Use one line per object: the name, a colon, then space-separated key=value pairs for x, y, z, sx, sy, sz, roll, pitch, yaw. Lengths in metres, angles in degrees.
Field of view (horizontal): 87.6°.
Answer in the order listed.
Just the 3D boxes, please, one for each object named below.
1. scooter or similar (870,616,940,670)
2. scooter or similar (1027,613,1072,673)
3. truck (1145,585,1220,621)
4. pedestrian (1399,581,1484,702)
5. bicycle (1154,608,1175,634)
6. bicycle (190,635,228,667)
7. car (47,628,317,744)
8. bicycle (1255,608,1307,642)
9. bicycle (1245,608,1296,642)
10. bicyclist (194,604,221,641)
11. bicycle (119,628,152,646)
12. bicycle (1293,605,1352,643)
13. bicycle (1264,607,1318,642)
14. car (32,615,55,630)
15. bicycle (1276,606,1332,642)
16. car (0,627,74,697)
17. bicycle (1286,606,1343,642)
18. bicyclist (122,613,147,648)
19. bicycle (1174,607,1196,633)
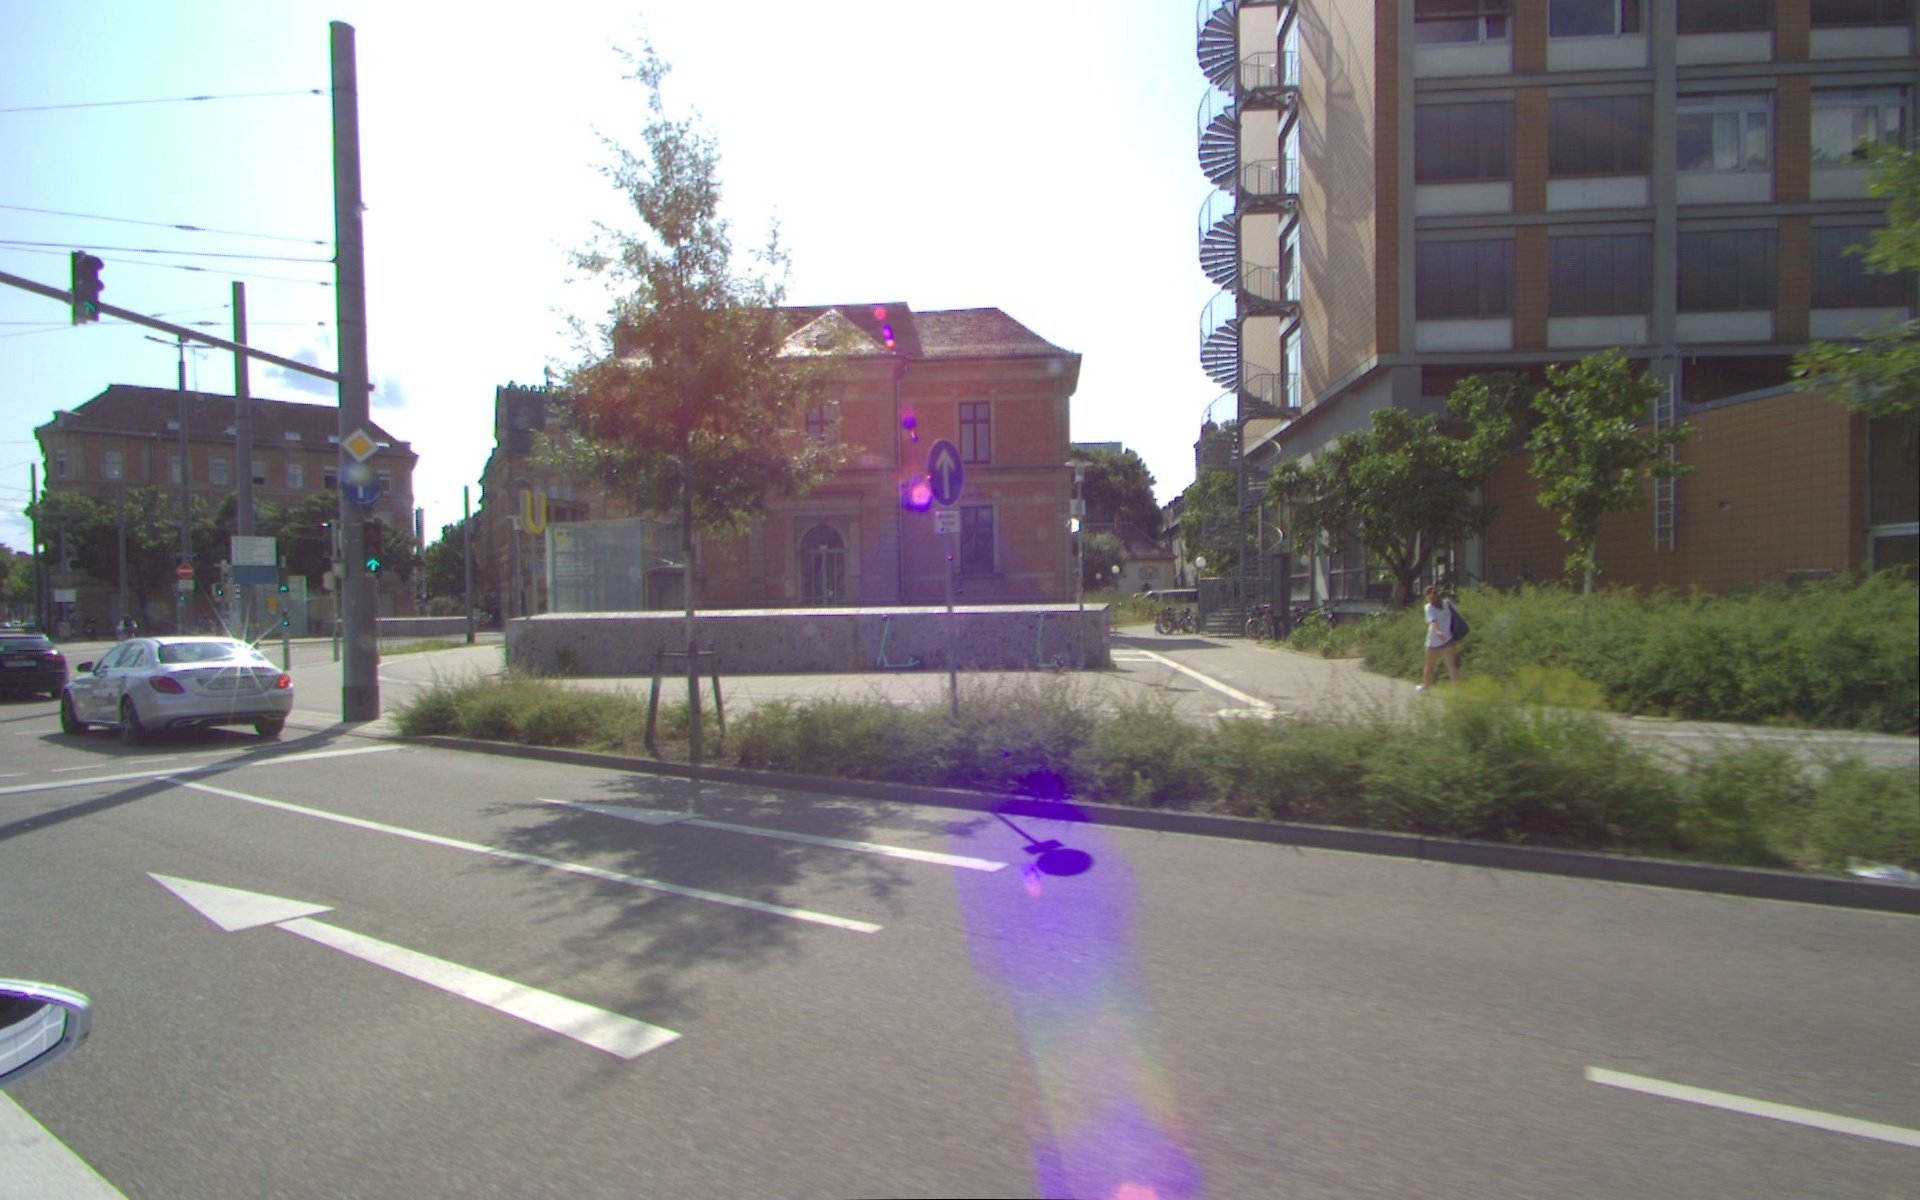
scooter or similar: x=-1.175 y=0.916 z=21.429 sx=1.419 sy=1.133 sz=0.465 roll=-1 pitch=2 yaw=10
scooter or similar: x=1.787 y=0.845 z=20.168 sx=0.457 sy=1.119 sz=1.316 roll=-1 pitch=1 yaw=-15
truck: x=13.482 y=0.206 z=60.928 sx=4.304 sy=2.039 sz=2.000 roll=-1 pitch=-2 yaw=8
pedestrian: x=6.921 y=0.563 z=14.435 sx=0.604 sy=1.645 sz=1.096 roll=-3 pitch=2 yaw=-5
bicycle: x=8.347 y=0.829 z=40.866 sx=0.536 sy=1.002 sz=1.507 roll=-4 pitch=0 yaw=2
bicycle: x=-26.227 y=1.770 z=35.005 sx=0.837 sy=0.983 sz=1.949 roll=-4 pitch=2 yaw=-32
car: x=-11.639 y=1.162 z=14.875 sx=4.696 sy=1.474 sz=1.925 roll=-1 pitch=-2 yaw=36
bicycle: x=10.463 y=0.803 z=32.675 sx=1.478 sy=1.002 sz=0.547 roll=-4 pitch=1 yaw=1
bicycle: x=10.369 y=0.830 z=33.451 sx=1.478 sy=1.002 sz=0.547 roll=-4 pitch=1 yaw=1
bicyclist: x=-26.274 y=0.782 z=34.970 sx=0.628 sy=1.237 sz=0.918 roll=-3 pitch=3 yaw=-32
bicycle: x=-35.599 y=1.592 z=43.231 sx=1.598 sy=0.786 sz=0.583 roll=-1 pitch=0 yaw=32
bicycle: x=10.682 y=0.695 z=29.510 sx=1.478 sy=1.002 sz=0.547 roll=-4 pitch=1 yaw=1
bicycle: x=10.550 y=0.775 z=31.946 sx=1.478 sy=1.002 sz=0.547 roll=-4 pitch=1 yaw=1
car: x=-109.410 y=2.677 z=119.607 sx=1.822 sy=1.673 sz=3.968 roll=0 pitch=-2 yaw=-40
bicycle: x=10.680 y=0.748 z=31.122 sx=1.478 sy=1.002 sz=0.547 roll=-4 pitch=1 yaw=1
car: x=-21.036 y=1.312 z=22.030 sx=4.083 sy=1.390 sz=1.691 roll=-1 pitch=0 yaw=40
bicycle: x=10.716 y=0.725 z=30.298 sx=1.478 sy=1.002 sz=0.547 roll=-4 pitch=1 yaw=1
bicyclist: x=-35.606 y=1.325 z=43.206 sx=0.763 sy=1.470 sz=0.607 roll=-1 pitch=0 yaw=32
bicycle: x=9.176 y=0.806 z=40.878 sx=0.536 sy=1.002 sz=1.507 roll=-4 pitch=0 yaw=2
